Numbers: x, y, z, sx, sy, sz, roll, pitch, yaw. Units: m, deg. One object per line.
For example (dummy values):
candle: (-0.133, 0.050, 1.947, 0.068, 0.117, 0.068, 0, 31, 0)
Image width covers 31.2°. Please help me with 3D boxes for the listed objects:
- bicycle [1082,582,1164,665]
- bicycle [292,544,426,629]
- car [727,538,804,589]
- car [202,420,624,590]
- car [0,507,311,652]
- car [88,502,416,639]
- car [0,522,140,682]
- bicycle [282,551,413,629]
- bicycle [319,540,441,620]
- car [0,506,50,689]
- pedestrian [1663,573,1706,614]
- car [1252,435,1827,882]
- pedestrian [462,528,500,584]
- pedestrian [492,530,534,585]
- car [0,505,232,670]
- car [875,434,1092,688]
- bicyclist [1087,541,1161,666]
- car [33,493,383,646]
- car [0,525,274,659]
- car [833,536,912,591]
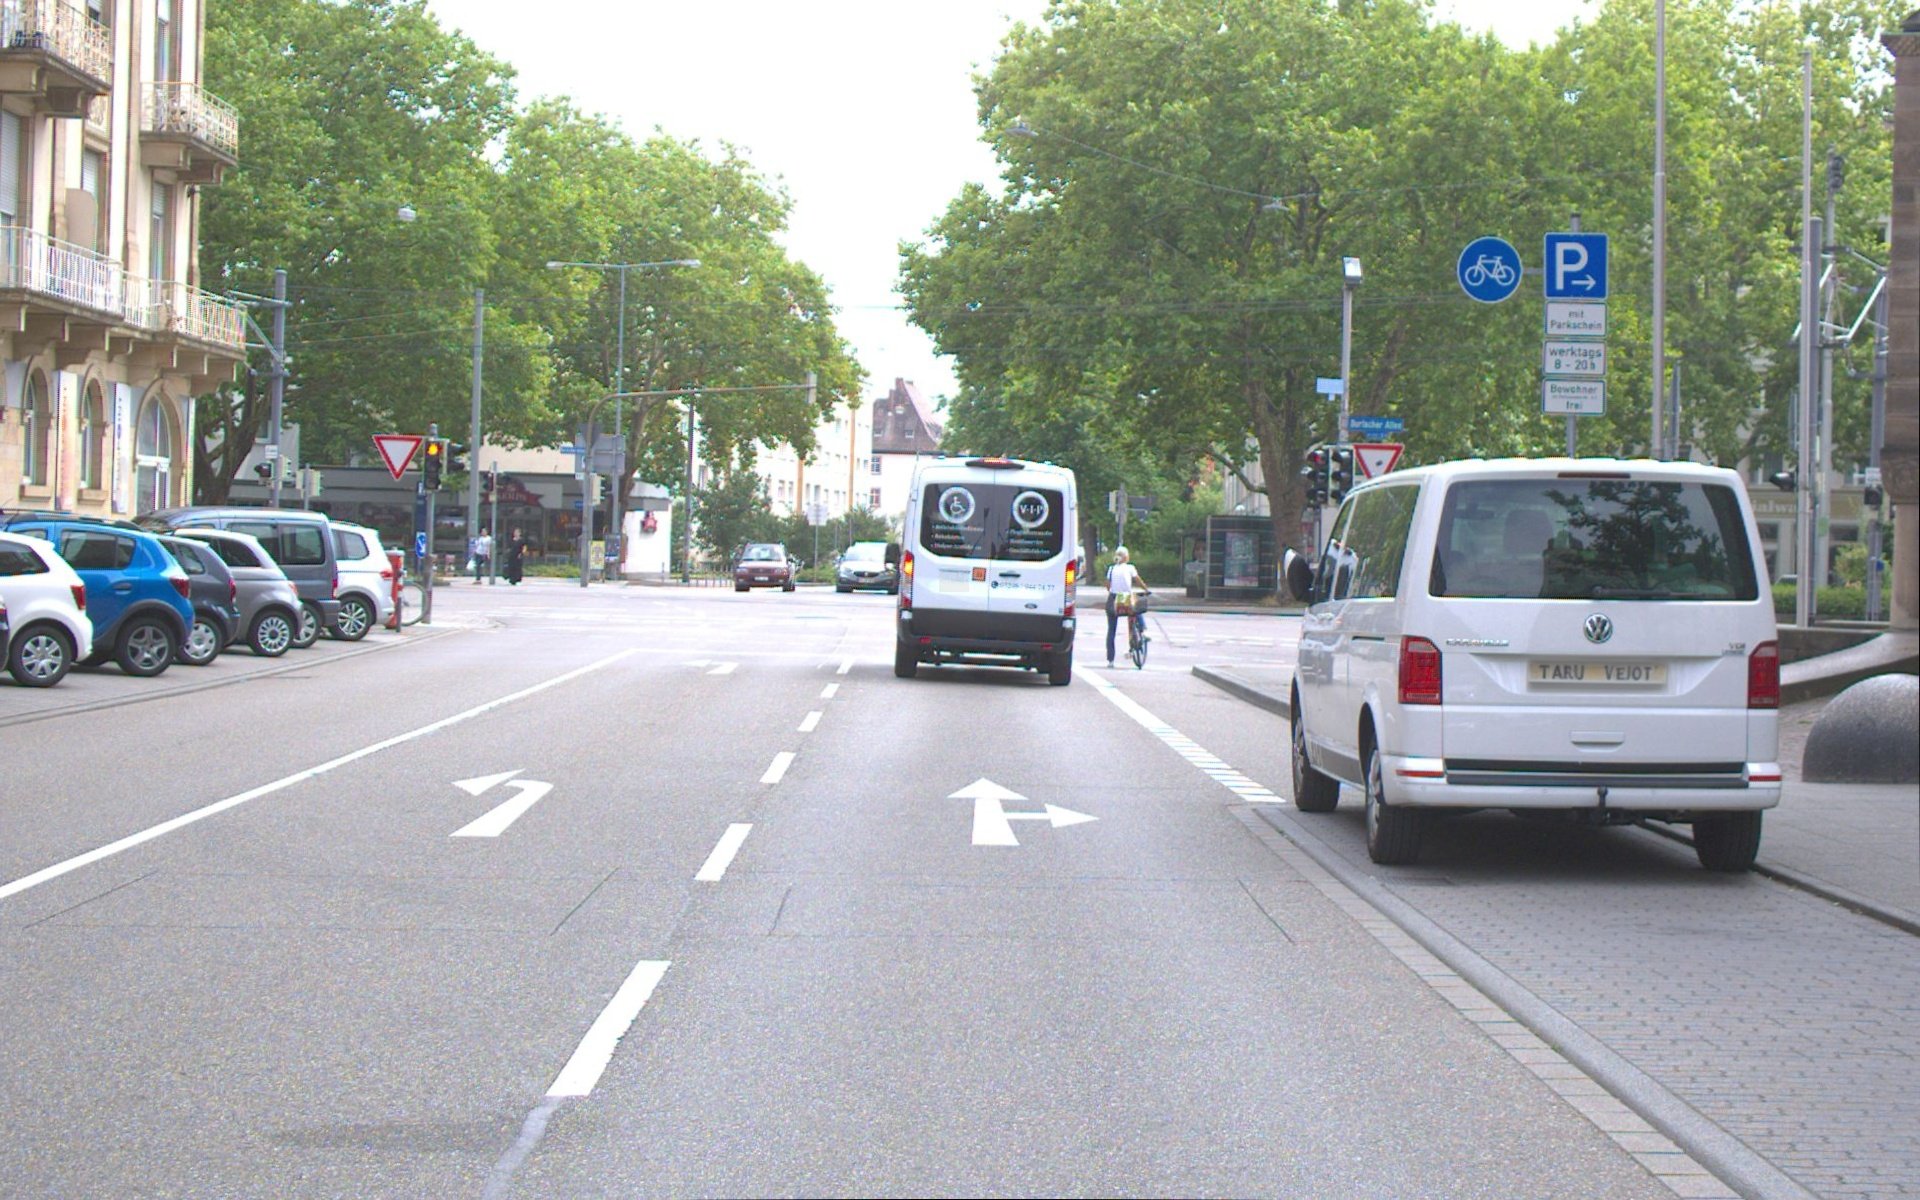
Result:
bicycle: (2.230, 0.311, 47.188, 0.902, 1.071, 1.970, 2, 1, -3)
bicycle: (-9.051, -0.211, 51.801, 1.809, 1.116, 0.594, 5, 1, 4)
car: (-5.895, -1.116, 104.542, 1.621, 1.471, 3.999, 1, 1, 7)
car: (-13.459, -2.347, 84.360, 9.898, 3.902, 3.451, 2, 1, 25)
car: (-10.047, -0.244, 41.330, 4.000, 1.646, 1.796, 1, 1, -39)
car: (-9.725, -0.394, 47.351, 4.000, 1.767, 1.796, 1, 1, -39)
car: (-9.762, -0.013, 32.094, 3.674, 1.476, 1.742, 1, 1, -36)
bicycle: (-9.103, -0.151, 51.131, 1.810, 1.116, 0.594, 1, 1, 6)
bicycle: (-9.275, -0.324, 54.966, 1.877, 1.163, 0.497, 4, 0, 21)
car: (-9.980, -0.072, 29.121, 3.999, 1.559, 1.797, 1, 1, -32)
pedestrian: (22.124, -0.206, 104.959, 1.091, 1.232, 1.440, 0, 0, 4)
car: (2.843, 0.197, 18.143, 2.014, 2.022, 5.124, 0, 2, -2)
pedestrian: (-13.626, -1.259, 97.787, 0.807, 1.567, 0.723, 2, 1, 14)
pedestrian: (-12.692, -1.208, 97.659, 0.930, 1.509, 0.723, 2, 1, 14)
car: (-9.667, -0.144, 35.558, 3.766, 1.646, 1.724, 1, 1, -36)
car: (0.201, -0.490, 40.150, 2.181, 2.638, 4.629, 4, 1, -2)
bicyclist: (2.247, 0.046, 47.185, 0.903, 1.677, 0.757, 2, 1, -3)
car: (-9.689, -0.381, 44.433, 4.000, 1.872, 1.796, 1, 1, -39)
car: (-9.889, -0.099, 38.497, 3.891, 1.438, 1.837, 1, 1, -36)
car: (-2.616, -1.118, 103.644, 1.733, 1.586, 3.999, 1, 1, 7)
